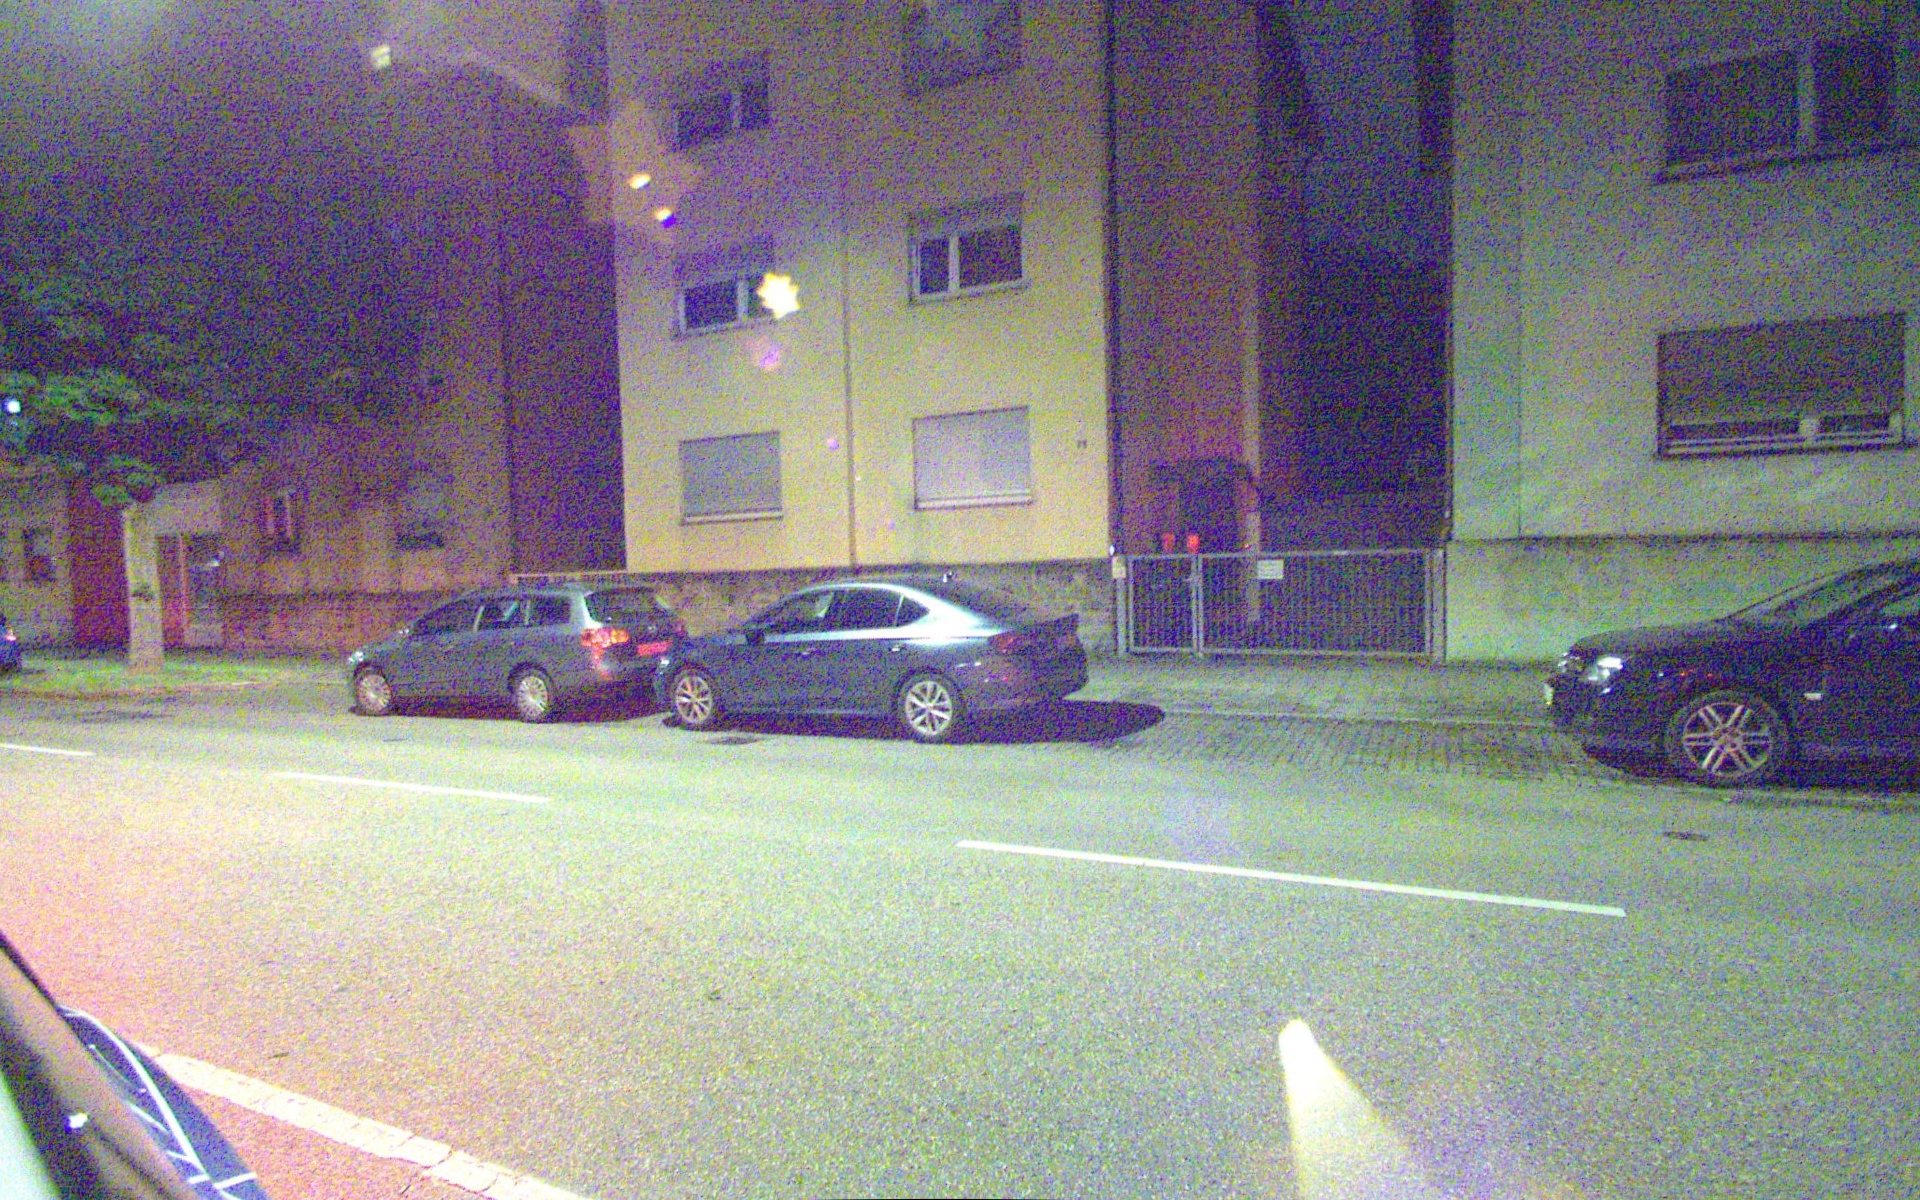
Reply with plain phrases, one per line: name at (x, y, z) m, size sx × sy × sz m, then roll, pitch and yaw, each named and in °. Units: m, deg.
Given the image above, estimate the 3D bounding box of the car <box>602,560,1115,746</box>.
car at (-1.067, 0.435, 9.996) m, size 4.837 × 1.497 × 1.759 m, roll -1°, pitch 1°, yaw 26°

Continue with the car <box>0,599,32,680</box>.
car at (-20.036, 0.801, 19.577) m, size 3.968 × 1.505 × 1.705 m, roll -1°, pitch 2°, yaw 26°

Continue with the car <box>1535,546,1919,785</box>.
car at (6.322, 0.360, 6.457) m, size 4.424 × 1.393 × 1.615 m, roll -1°, pitch 1°, yaw 24°

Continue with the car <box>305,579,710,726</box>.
car at (-5.475, 0.556, 12.166) m, size 4.739 × 1.497 × 1.759 m, roll -1°, pitch 1°, yaw 25°
